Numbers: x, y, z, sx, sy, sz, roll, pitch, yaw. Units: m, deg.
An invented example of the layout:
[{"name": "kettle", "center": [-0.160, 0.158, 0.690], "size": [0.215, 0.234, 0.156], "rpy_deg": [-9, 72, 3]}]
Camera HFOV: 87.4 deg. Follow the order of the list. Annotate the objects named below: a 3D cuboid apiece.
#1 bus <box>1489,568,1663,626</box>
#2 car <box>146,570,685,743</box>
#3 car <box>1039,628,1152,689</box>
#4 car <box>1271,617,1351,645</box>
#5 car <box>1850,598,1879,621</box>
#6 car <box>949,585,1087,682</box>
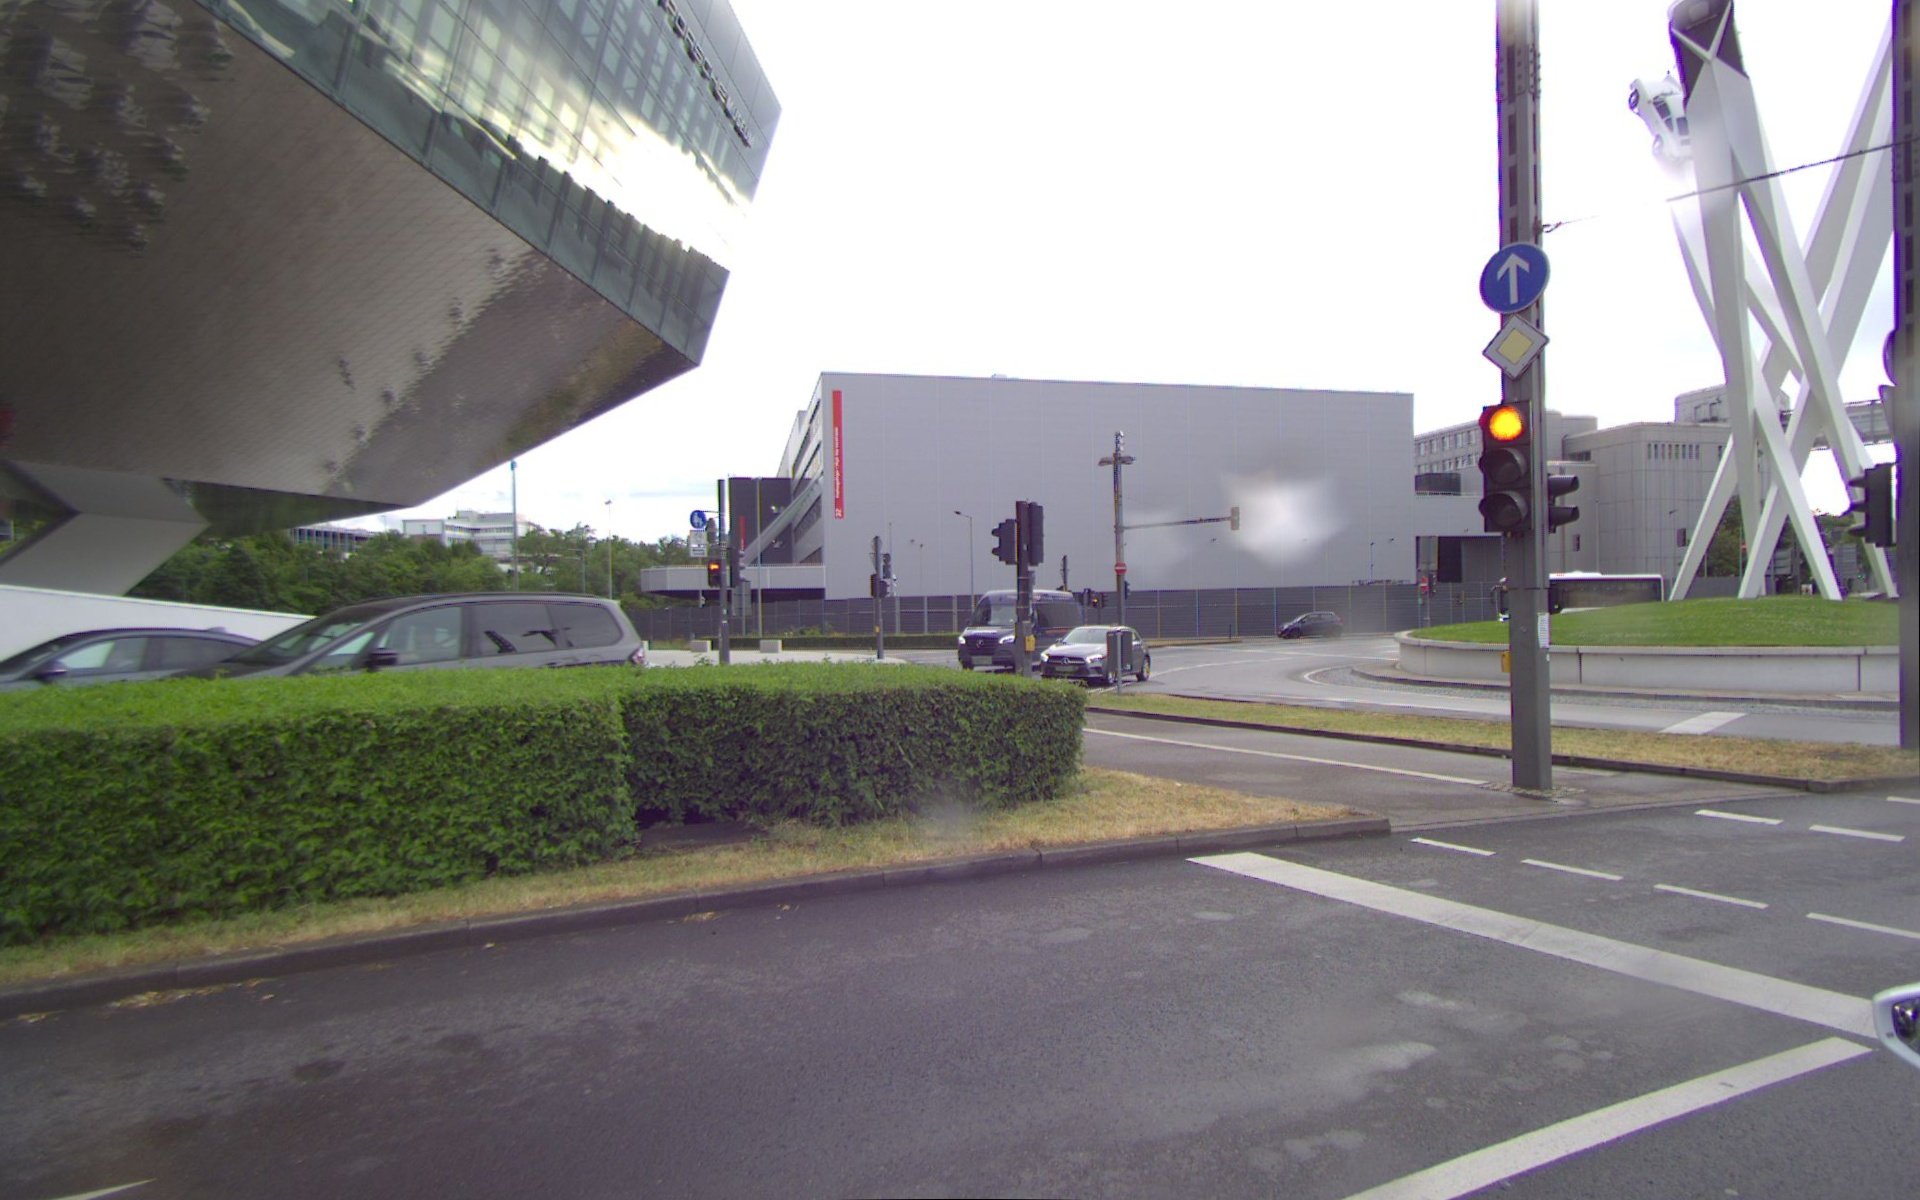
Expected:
[{"name": "bus", "center": [37.084, -0.078, 60.282], "size": [12.501, 3.243, 2.660], "rpy_deg": [1, 0, -26]}, {"name": "car", "center": [-5.198, 0.484, 10.177], "size": [1.811, 1.356, 4.466], "rpy_deg": [0, -1, 39]}, {"name": "car", "center": [3.529, 1.418, 25.527], "size": [1.614, 1.356, 4.068], "rpy_deg": [0, -1, 27]}, {"name": "car", "center": [19.779, 1.745, 56.735], "size": [3.919, 1.506, 1.780], "rpy_deg": [0, 0, 7]}, {"name": "car", "center": [81.387, 0.823, 90.376], "size": [3.732, 2.040, 1.629], "rpy_deg": [1, 0, -43]}, {"name": "car", "center": [2.122, 1.050, 33.330], "size": [1.936, 2.858, 7.120], "rpy_deg": [0, -1, 26]}]
